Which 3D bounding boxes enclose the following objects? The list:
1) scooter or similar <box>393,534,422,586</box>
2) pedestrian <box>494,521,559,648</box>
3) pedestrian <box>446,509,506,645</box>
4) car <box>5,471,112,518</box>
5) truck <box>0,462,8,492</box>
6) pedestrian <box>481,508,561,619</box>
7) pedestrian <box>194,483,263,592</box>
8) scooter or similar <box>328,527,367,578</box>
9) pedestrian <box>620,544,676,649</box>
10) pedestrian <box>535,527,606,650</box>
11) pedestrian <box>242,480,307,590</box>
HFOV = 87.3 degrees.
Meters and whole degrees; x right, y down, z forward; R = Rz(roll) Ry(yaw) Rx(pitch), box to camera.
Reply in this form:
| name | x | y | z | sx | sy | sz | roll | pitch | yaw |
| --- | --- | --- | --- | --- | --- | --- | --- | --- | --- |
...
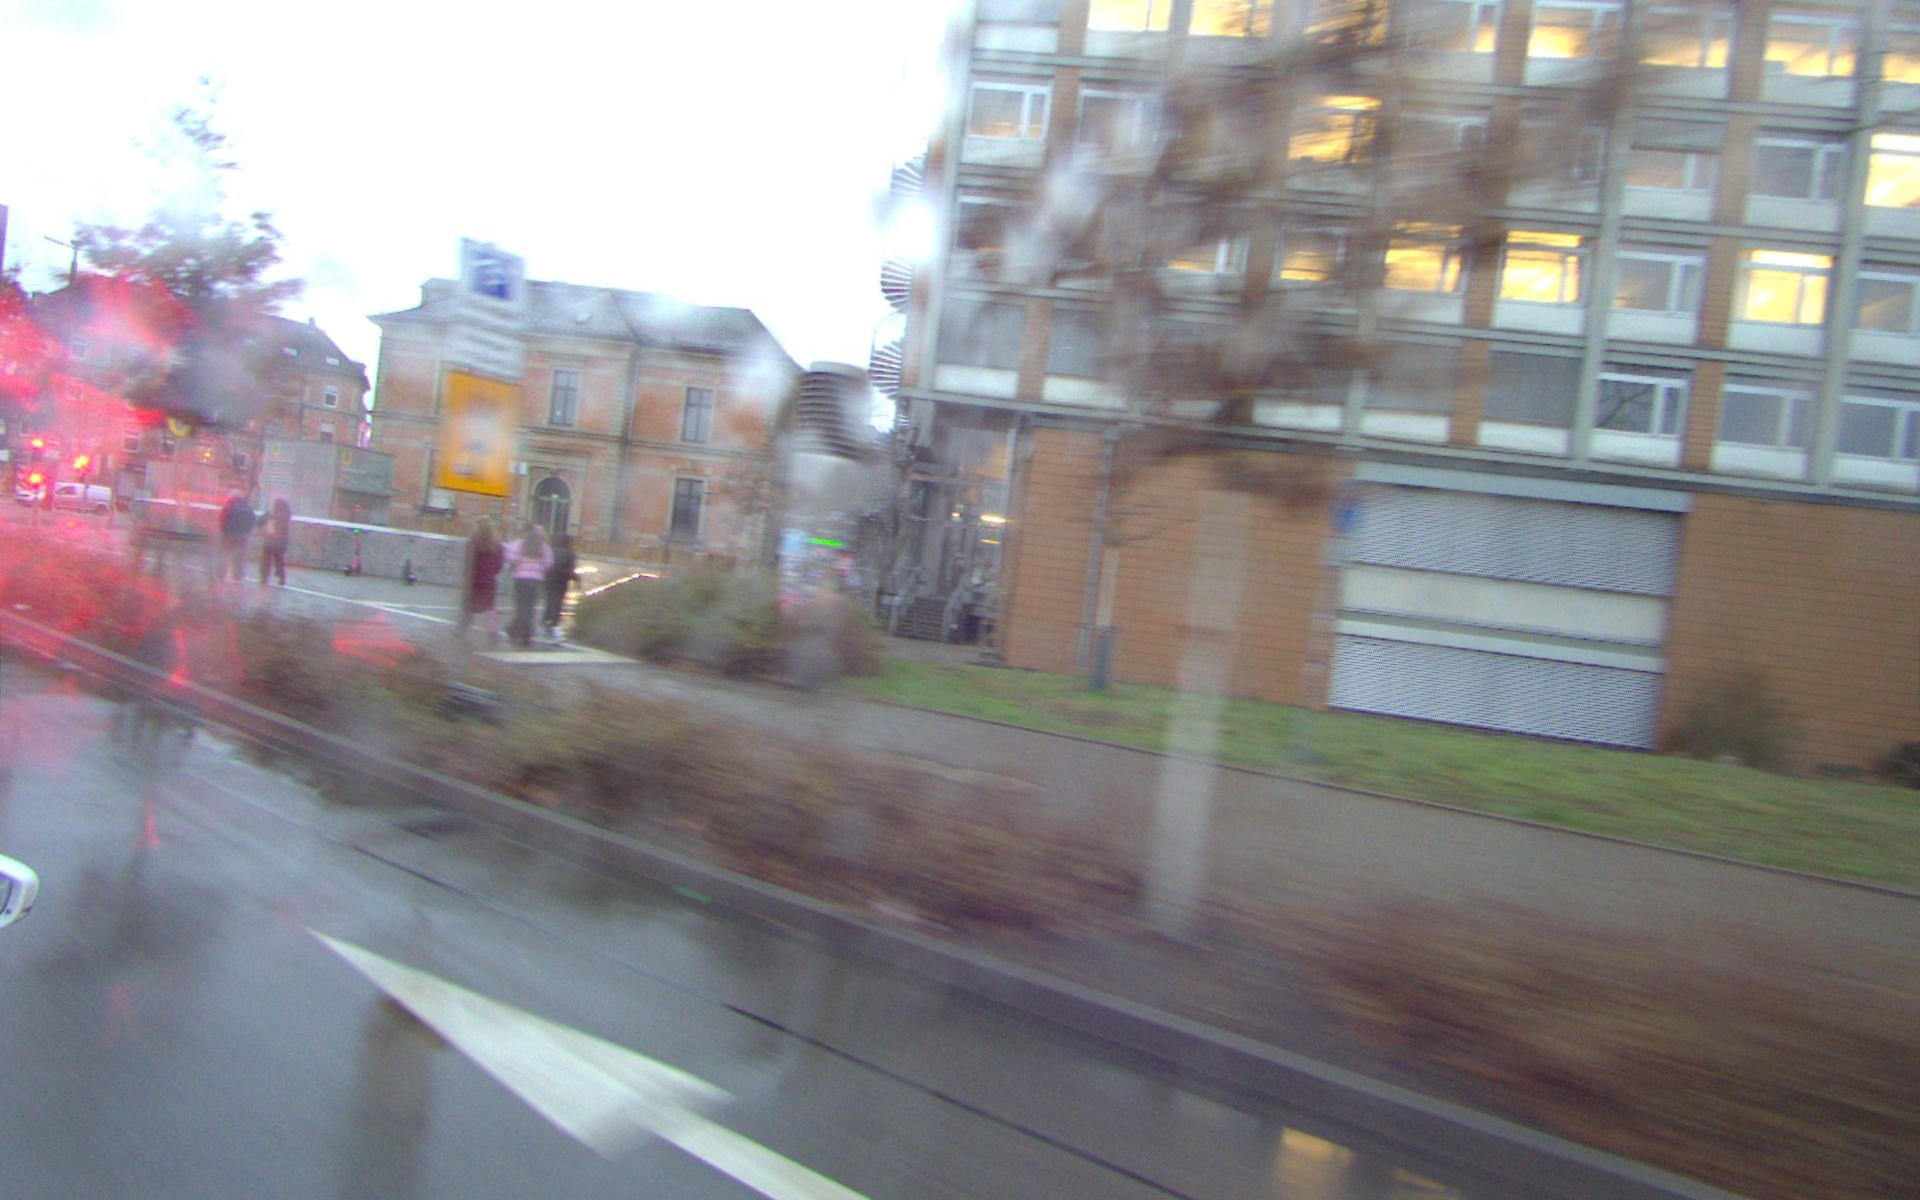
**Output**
| name | x | y | z | sx | sy | sz | roll | pitch | yaw |
| --- | --- | --- | --- | --- | --- | --- | --- | --- | --- |
| scooter or similar | -14.016 | -1.011 | 25.527 | 0.508 | 1.229 | 1.373 | 6 | 0 | -28 |
| pedestrian | -6.169 | -0.223 | 14.306 | 0.662 | 1.711 | 0.606 | 4 | 4 | -31 |
| pedestrian | -6.772 | -0.326 | 14.059 | 0.579 | 1.805 | 0.763 | 4 | 2 | -31 |
| car | -53.343 | -6.219 | 59.600 | 1.884 | 2.039 | 4.398 | 7 | 1 | 40 |
| truck | -91.317 | -11.725 | 94.541 | 1.983 | 2.725 | 5.062 | 6 | 1 | -38 |
| pedestrian | -7.628 | -0.618 | 17.511 | 0.735 | 1.814 | 0.854 | 7 | 1 | 17 |
| pedestrian | -14.127 | -1.205 | 19.443 | 0.802 | 1.954 | 0.753 | 8 | 2 | -31 |
| scooter or similar | -15.934 | -1.229 | 26.200 | 0.507 | 1.229 | 1.376 | 6 | 0 | -20 |
| pedestrian | -5.575 | -0.055 | 17.995 | 0.549 | 1.814 | 0.584 | 7 | 1 | 17 |
| pedestrian | -5.776 | -0.176 | 14.920 | 0.712 | 1.709 | 0.754 | 6 | 1 | -31 |
| pedestrian | -13.669 | -1.296 | 20.071 | 0.802 | 2.039 | 0.753 | 8 | 2 | -31 |
